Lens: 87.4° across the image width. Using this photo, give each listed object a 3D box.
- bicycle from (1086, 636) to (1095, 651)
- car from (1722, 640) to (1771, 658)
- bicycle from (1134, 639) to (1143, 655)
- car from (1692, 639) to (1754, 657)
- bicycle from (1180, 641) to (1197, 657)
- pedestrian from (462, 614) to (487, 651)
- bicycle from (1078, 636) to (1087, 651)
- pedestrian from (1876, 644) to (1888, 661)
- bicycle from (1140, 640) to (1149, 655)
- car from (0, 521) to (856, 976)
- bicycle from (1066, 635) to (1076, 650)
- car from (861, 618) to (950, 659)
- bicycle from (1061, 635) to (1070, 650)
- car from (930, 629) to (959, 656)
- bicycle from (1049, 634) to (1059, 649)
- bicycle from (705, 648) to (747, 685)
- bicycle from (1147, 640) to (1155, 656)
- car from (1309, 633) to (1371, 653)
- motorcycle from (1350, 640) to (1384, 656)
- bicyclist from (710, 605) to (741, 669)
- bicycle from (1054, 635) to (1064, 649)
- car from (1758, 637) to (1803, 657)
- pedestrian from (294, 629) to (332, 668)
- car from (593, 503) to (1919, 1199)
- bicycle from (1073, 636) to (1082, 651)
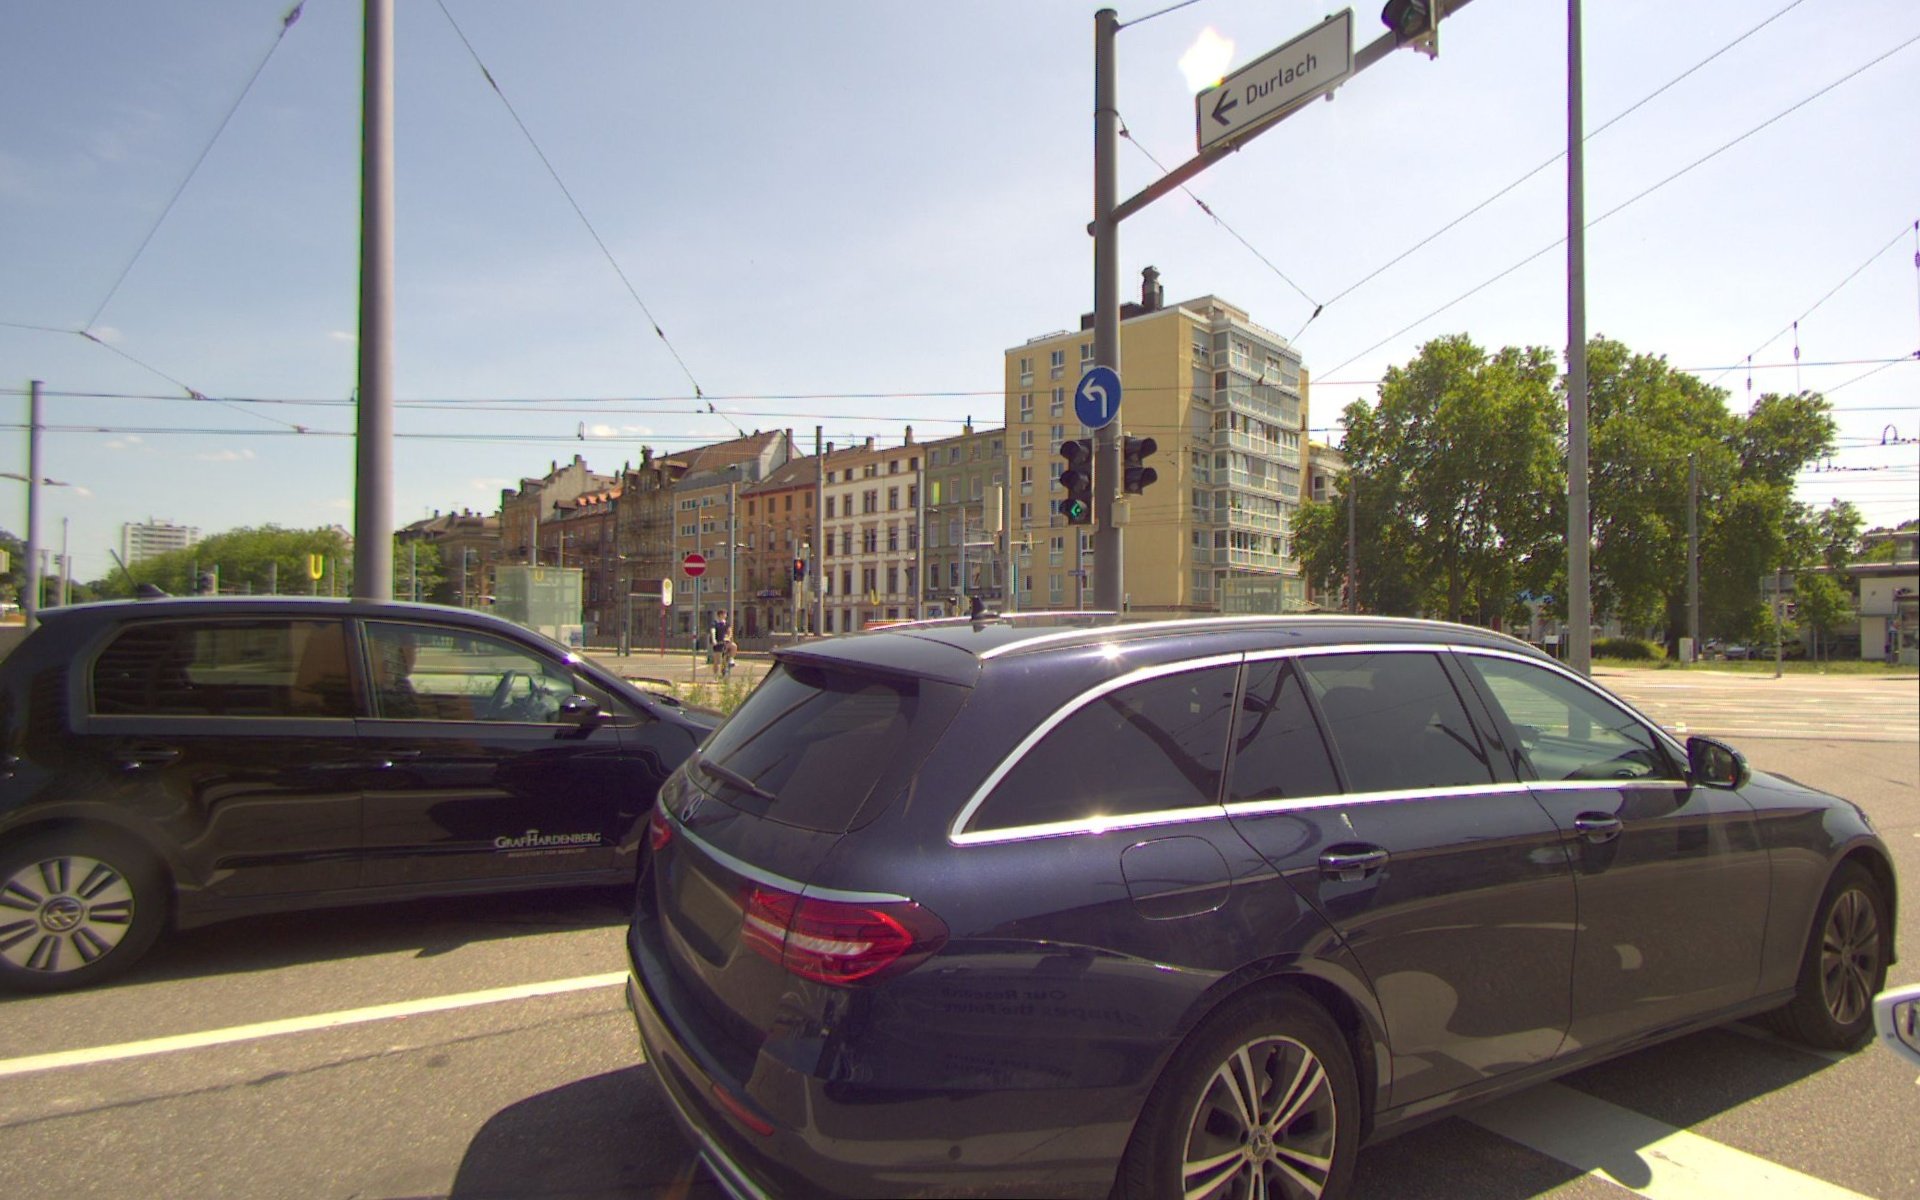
[{"bbox_3d":[9.213,3.092,70.972,0.424,1.040,1.445,0,-2,17],"label":"bicycle"},{"bbox_3d":[66.776,4.155,85.231,4.274,1.530,1.760,2,-2,-29],"label":"car"},{"bbox_3d":[12.044,3.169,67.775,0.424,1.040,1.445,0,-2,17],"label":"bicycle"},{"bbox_3d":[69.552,4.381,91.641,4.246,1.530,1.771,0,-2,26],"label":"car"},{"bbox_3d":[15.195,3.285,66.905,0.427,1.040,1.435,-1,-2,44],"label":"bicycle"},{"bbox_3d":[-24.533,1.630,50.766,1.114,1.837,0.677,-1,-2,38],"label":"pedestrian"},{"bbox_3d":[8.698,3.074,71.235,0.424,1.040,1.445,0,-2,17],"label":"bicycle"},{"bbox_3d":[68.104,3.853,74.183,0.439,1.220,0.511,1,-2,-24],"label":"pedestrian"},{"bbox_3d":[12.416,3.180,67.460,0.424,1.040,1.445,0,-2,17],"label":"bicycle"},{"bbox_3d":[-2.552,0.572,4.953,3.690,1.597,1.737,1,-2,-28],"label":"car"},{"bbox_3d":[7.945,3.052,71.934,0.424,1.040,1.445,0,-2,17],"label":"bicycle"},{"bbox_3d":[-2.913,2.001,52.626,1.987,2.084,4.808,2,-2,-44],"label":"car"},{"bbox_3d":[7.586,3.041,72.246,0.424,1.040,1.445,0,-2,17],"label":"bicycle"},{"bbox_3d":[-1.078,2.895,69.356,1.803,1.773,3.999,0,-2,-4],"label":"car"},{"bbox_3d":[6.823,3.020,73.027,0.424,1.040,1.445,0,-2,17],"label":"bicycle"},{"bbox_3d":[-5.899,1.647,25.247,0.620,0.866,1.888,1,-2,-26],"label":"bicycle"},{"bbox_3d":[12.783,3.192,67.193,0.424,1.040,1.445,0,-2,17],"label":"bicycle"},{"bbox_3d":[28.246,3.201,74.745,3.936,1.439,1.993,-1,-2,37],"label":"car"},{"bbox_3d":[25.280,2.965,62.396,1.887,0.974,0.524,-1,-2,31],"label":"motorcycle"},{"bbox_3d":[-5.909,0.928,25.284,0.433,1.549,1.245,2,0,-26],"label":"bicyclist"},{"bbox_3d":[7.162,3.029,72.686,0.424,1.040,1.445,0,-2,17],"label":"bicycle"},{"bbox_3d":[67.622,3.856,82.758,4.282,1.530,1.756,2,-2,-34],"label":"car"},{"bbox_3d":[-22.511,1.691,34.956,0.978,1.352,0.527,0,-1,3],"label":"pedestrian"},{"bbox_3d":[1.362,0.738,3.473,4.744,1.662,1.790,2,0,-28],"label":"car"},{"bbox_3d":[8.385,3.066,71.635,0.424,1.040,1.445,0,-2,17],"label":"bicycle"}]
